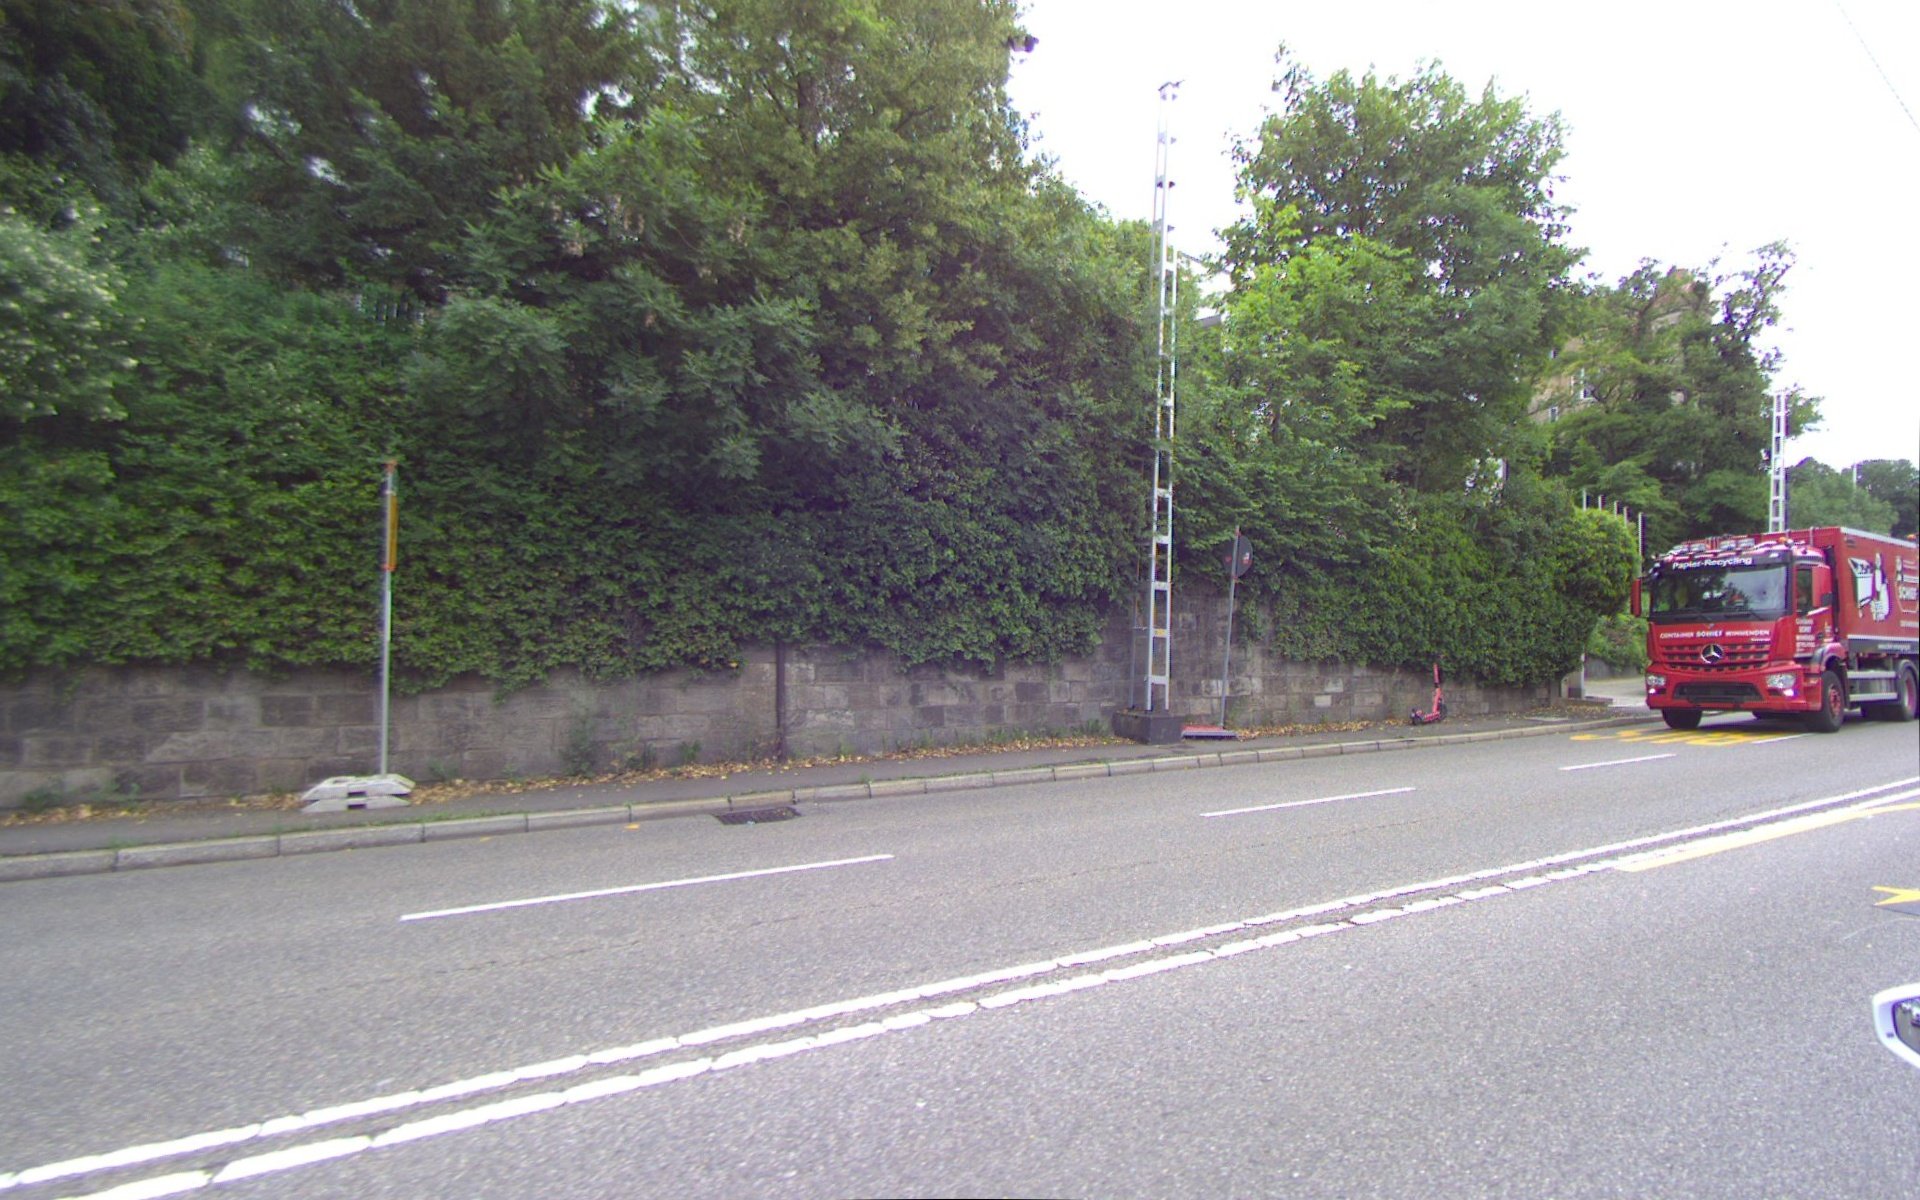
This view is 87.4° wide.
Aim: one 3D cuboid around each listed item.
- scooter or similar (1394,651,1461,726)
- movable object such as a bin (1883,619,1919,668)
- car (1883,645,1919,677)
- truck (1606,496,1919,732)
[{"bbox_3d":[8.168,1.519,17.535,1.268,1.221,0.533,2,0,-39],"label":"scooter or similar"},{"bbox_3d":[76.456,3.448,79.624,3.483,3.748,7.476,-2,-3,32],"label":"movable object such as a bin"},{"bbox_3d":[43.647,2.771,46.051,1.875,1.400,3.977,-4,-4,43],"label":"car"},{"bbox_3d":[16.742,0.401,19.904,9.817,3.745,2.928,1,-4,-34],"label":"truck"}]
